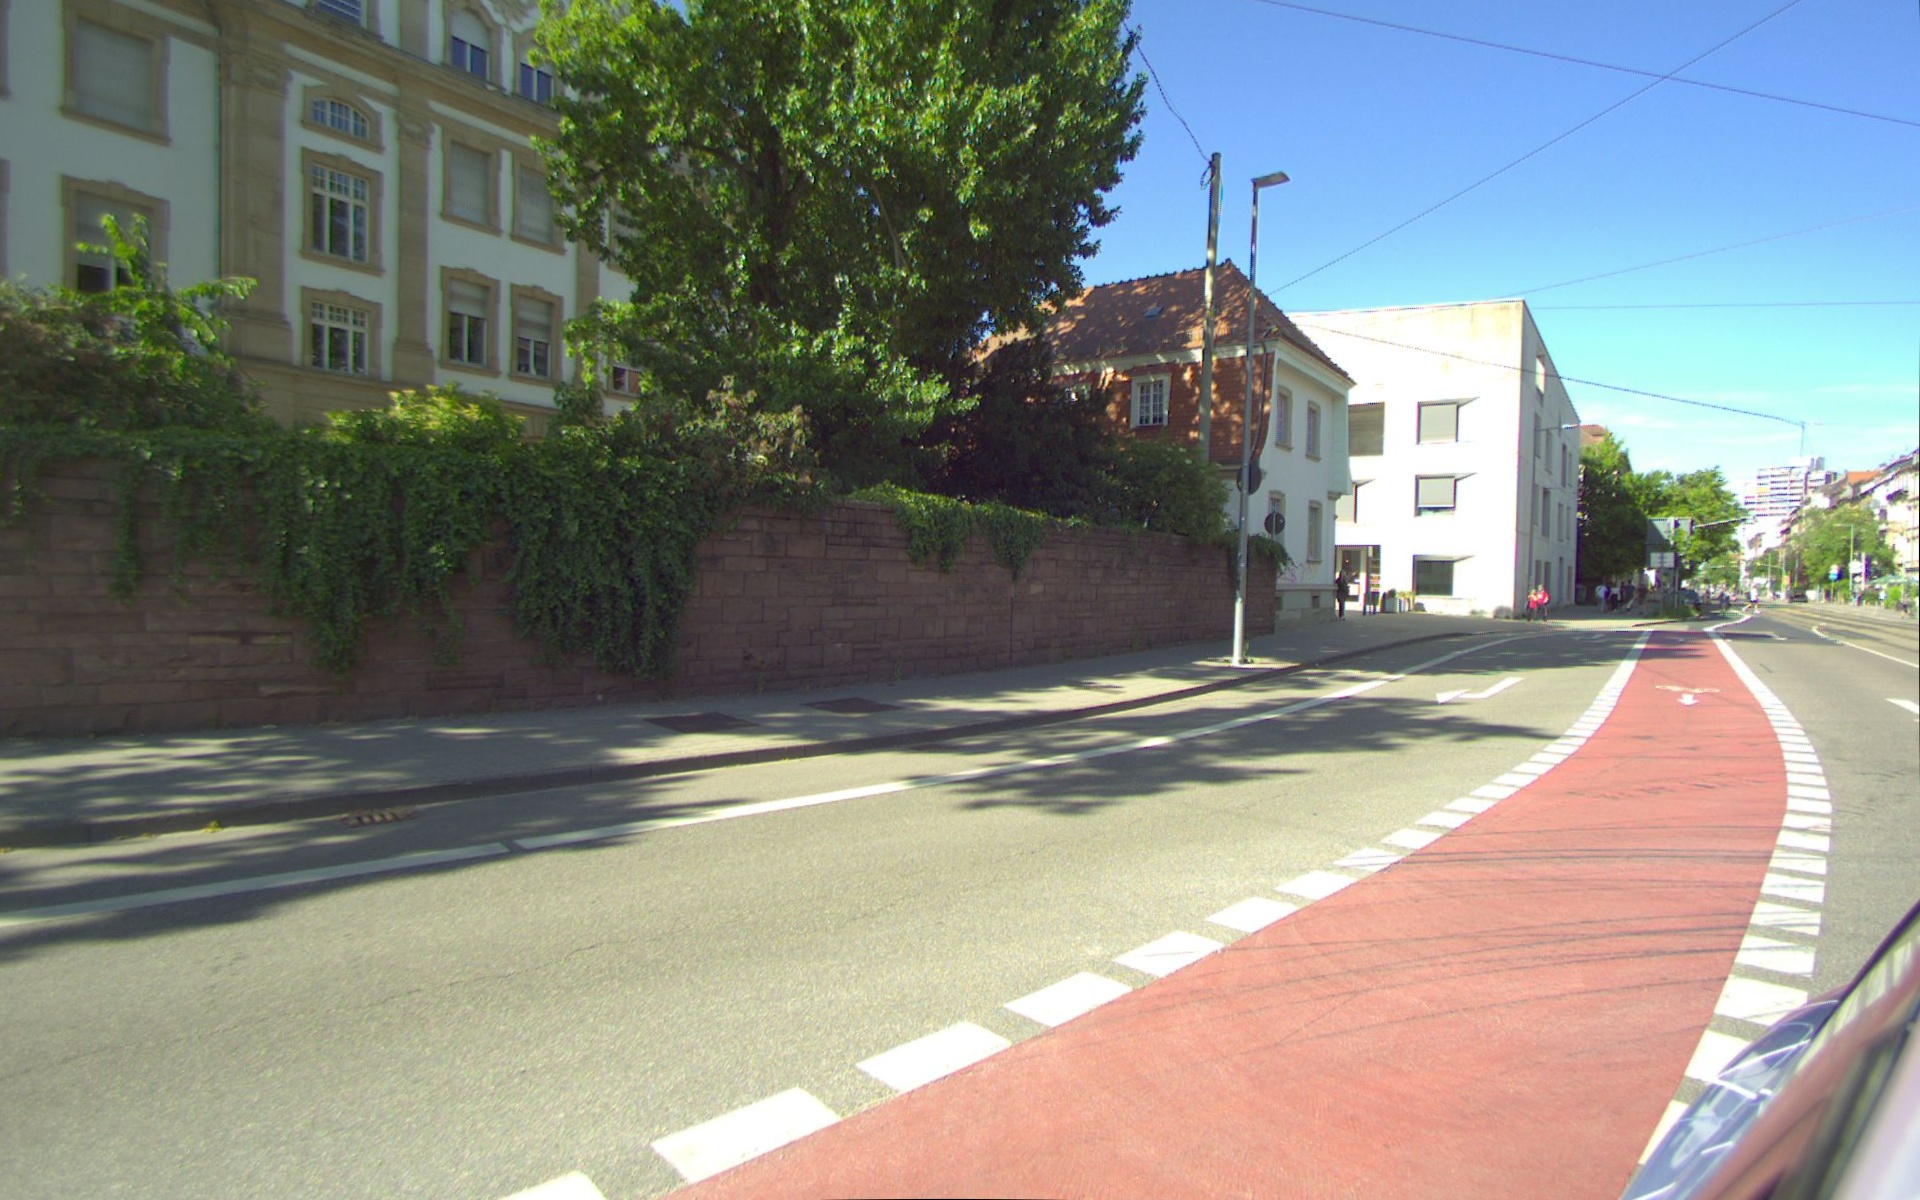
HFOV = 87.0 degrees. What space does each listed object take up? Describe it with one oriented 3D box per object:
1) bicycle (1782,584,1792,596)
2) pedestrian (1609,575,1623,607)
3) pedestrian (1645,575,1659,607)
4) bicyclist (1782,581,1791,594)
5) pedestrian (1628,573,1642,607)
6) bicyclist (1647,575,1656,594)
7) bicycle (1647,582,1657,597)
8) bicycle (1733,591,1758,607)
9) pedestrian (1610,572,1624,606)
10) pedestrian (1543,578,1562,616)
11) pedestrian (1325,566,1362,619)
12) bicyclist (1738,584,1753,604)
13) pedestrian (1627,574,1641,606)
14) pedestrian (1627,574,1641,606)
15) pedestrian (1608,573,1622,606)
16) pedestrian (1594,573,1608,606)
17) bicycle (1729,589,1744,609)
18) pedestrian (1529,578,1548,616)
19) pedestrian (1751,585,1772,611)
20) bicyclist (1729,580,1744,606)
[{"bbox_3d":[120.030,-1.424,146.948,0.998,1.702,2.946,0,2,37],"label":"bicycle"},{"bbox_3d":[38.216,-0.531,58.950,0.584,1.828,0.538,2,1,36],"label":"pedestrian"},{"bbox_3d":[37.778,-0.500,55.270,0.584,1.749,0.513,2,1,36],"label":"pedestrian"},{"bbox_3d":[120.021,-1.808,146.940,0.998,1.743,0.972,0,1,37],"label":"bicyclist"},{"bbox_3d":[36.957,-0.543,55.432,0.584,1.828,0.513,2,1,36],"label":"pedestrian"},{"bbox_3d":[81.519,-1.810,119.258,0.809,2.234,0.971,0,1,39],"label":"bicyclist"},{"bbox_3d":[81.587,-1.256,119.337,0.826,1.725,2.142,0,2,38],"label":"bicycle"},{"bbox_3d":[90.549,-0.155,116.700,0.987,1.702,2.977,0,1,10],"label":"bicycle"},{"bbox_3d":[36.372,-0.602,56.056,0.584,1.828,0.538,2,1,36],"label":"pedestrian"},{"bbox_3d":[24.865,-0.126,42.495,0.511,1.586,0.533,0,2,-44],"label":"pedestrian"},{"bbox_3d":[13.128,-0.270,34.685,0.925,1.698,0.952,3,3,10],"label":"pedestrian"},{"bbox_3d":[90.563,-0.691,116.714,0.987,2.296,1.018,0,1,10],"label":"bicyclist"},{"bbox_3d":[38.936,-0.564,58.447,0.584,1.828,0.538,2,1,36],"label":"pedestrian"},{"bbox_3d":[38.098,-0.573,57.184,0.584,1.828,0.575,2,1,36],"label":"pedestrian"},{"bbox_3d":[37.411,-0.613,57.815,0.584,1.828,0.575,2,1,36],"label":"pedestrian"},{"bbox_3d":[35.791,-0.573,56.486,0.584,1.828,0.538,2,1,36],"label":"pedestrian"},{"bbox_3d":[45.827,-0.062,59.718,0.663,1.166,1.648,0,2,40],"label":"bicycle"},{"bbox_3d":[24.622,-0.138,43.083,0.511,1.586,0.533,0,2,-44],"label":"pedestrian"},{"bbox_3d":[54.550,-0.159,68.873,0.919,1.759,0.675,2,1,18],"label":"pedestrian"},{"bbox_3d":[45.808,-0.411,59.693,0.663,1.480,0.613,0,1,41],"label":"bicyclist"}]
